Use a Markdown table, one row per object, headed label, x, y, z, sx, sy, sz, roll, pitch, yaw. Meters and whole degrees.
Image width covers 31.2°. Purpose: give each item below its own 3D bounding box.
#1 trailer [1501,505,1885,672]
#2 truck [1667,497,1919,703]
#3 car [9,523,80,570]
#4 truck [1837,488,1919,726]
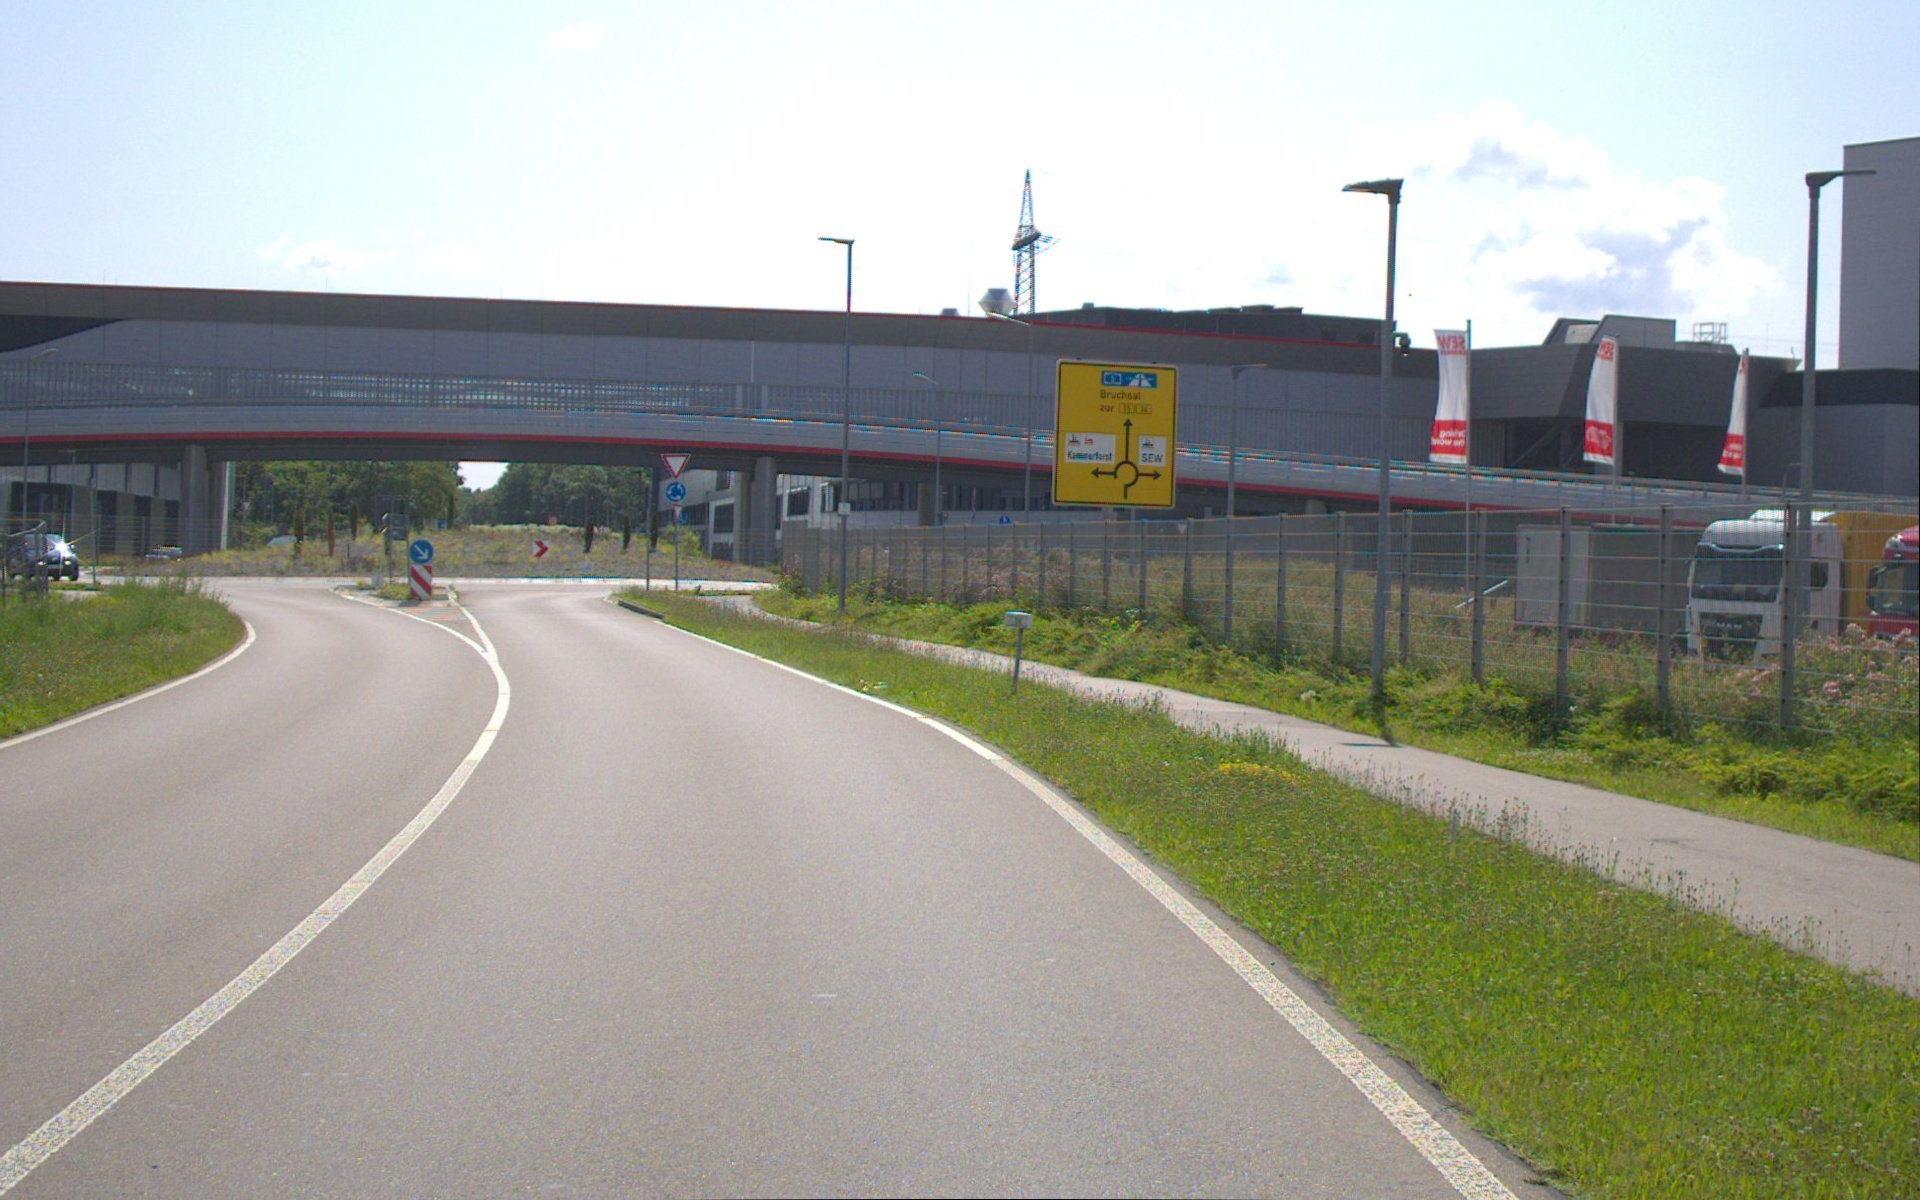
| label | x | y | z | sx | sy | sz | roll | pitch | yaw |
| --- | --- | --- | --- | --- | --- | --- | --- | --- | --- |
| trailer | 20.831 | -0.325 | 96.775 | 14.023 | 4.423 | 2.765 | 0 | 1 | -42 |
| truck | 19.818 | -0.023 | 74.145 | 10.942 | 4.158 | 2.821 | 0 | 1 | -41 |
| car | -29.256 | -1.707 | 109.786 | 1.702 | 1.477 | 4.001 | 0 | 1 | -22 |
| truck | 21.095 | 0.110 | 65.073 | 10.943 | 4.242 | 3.027 | 0 | 1 | -41 |
